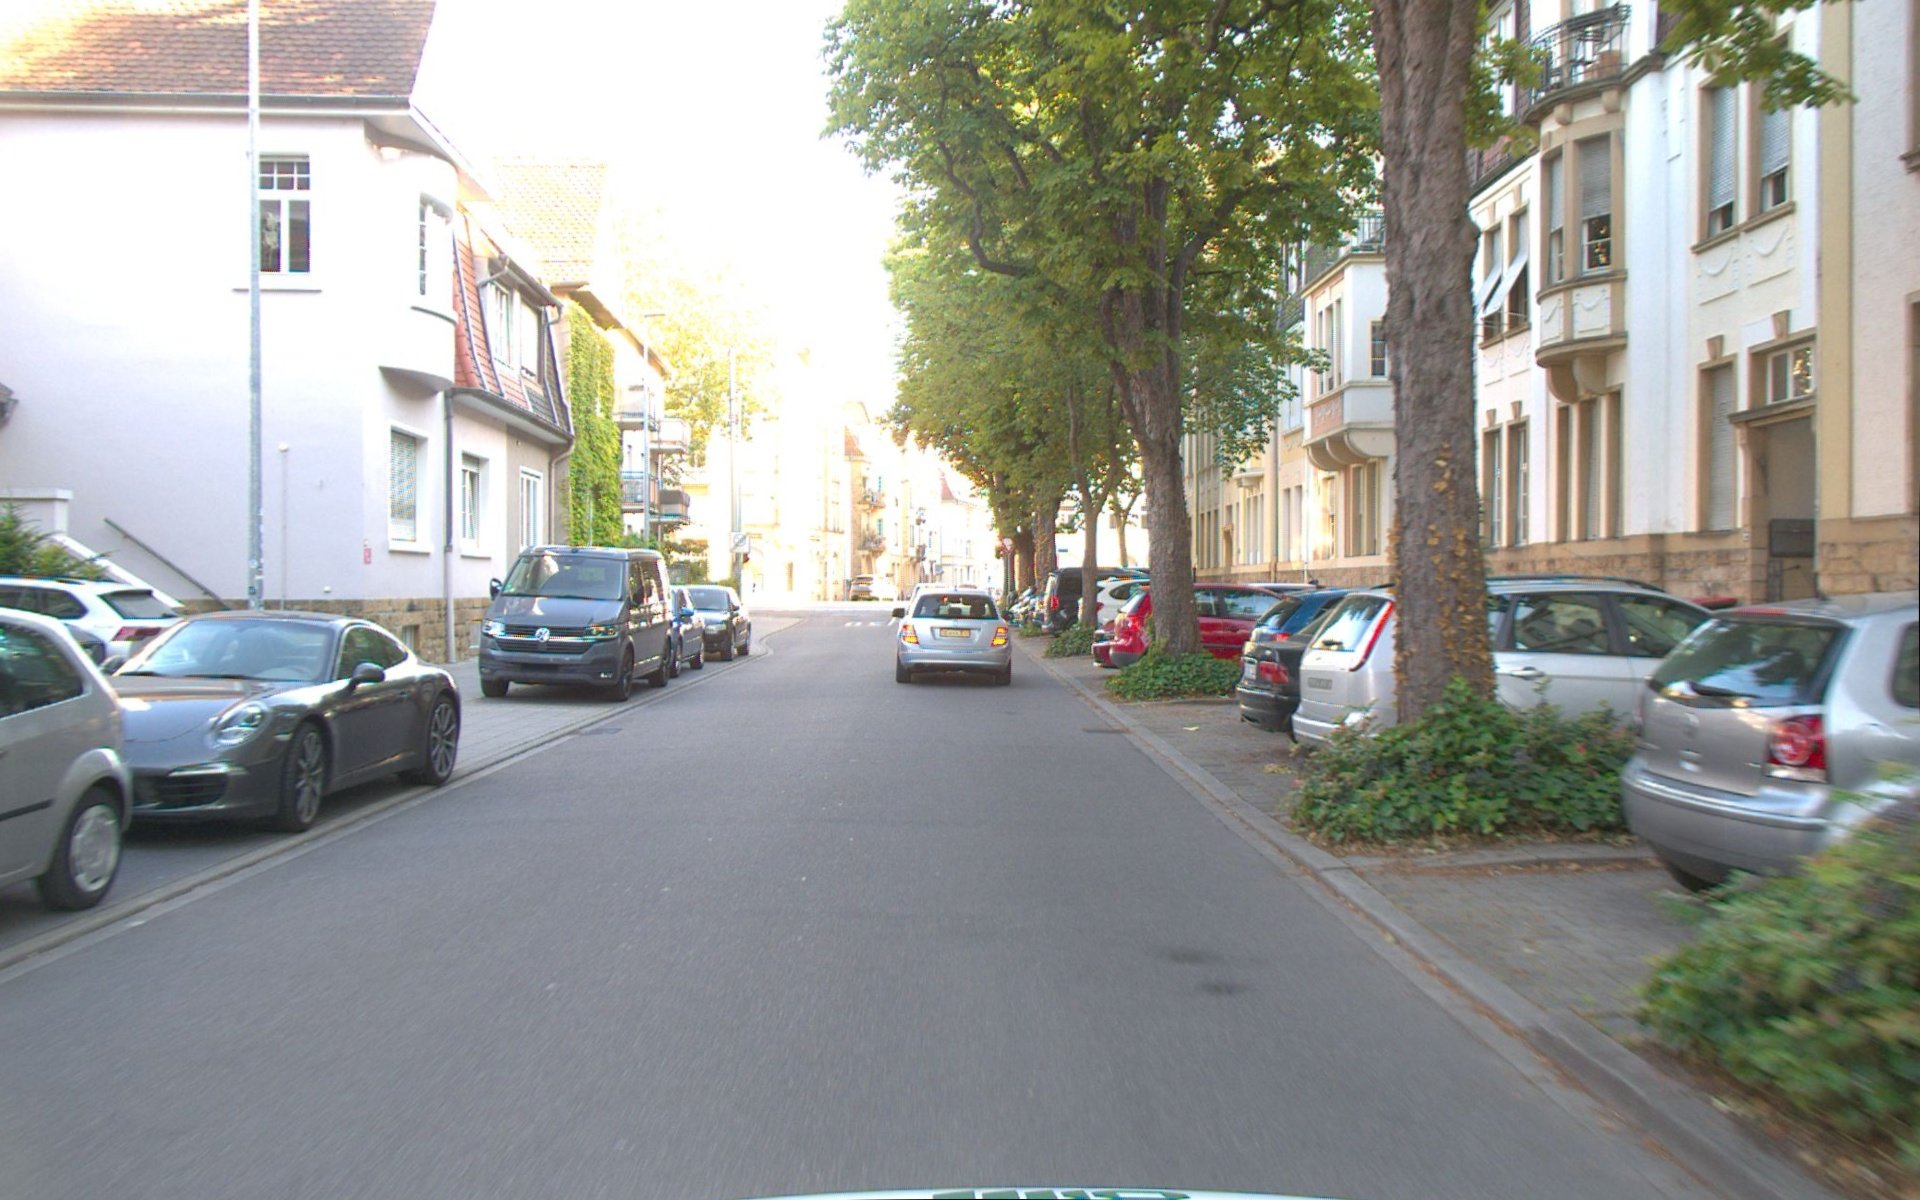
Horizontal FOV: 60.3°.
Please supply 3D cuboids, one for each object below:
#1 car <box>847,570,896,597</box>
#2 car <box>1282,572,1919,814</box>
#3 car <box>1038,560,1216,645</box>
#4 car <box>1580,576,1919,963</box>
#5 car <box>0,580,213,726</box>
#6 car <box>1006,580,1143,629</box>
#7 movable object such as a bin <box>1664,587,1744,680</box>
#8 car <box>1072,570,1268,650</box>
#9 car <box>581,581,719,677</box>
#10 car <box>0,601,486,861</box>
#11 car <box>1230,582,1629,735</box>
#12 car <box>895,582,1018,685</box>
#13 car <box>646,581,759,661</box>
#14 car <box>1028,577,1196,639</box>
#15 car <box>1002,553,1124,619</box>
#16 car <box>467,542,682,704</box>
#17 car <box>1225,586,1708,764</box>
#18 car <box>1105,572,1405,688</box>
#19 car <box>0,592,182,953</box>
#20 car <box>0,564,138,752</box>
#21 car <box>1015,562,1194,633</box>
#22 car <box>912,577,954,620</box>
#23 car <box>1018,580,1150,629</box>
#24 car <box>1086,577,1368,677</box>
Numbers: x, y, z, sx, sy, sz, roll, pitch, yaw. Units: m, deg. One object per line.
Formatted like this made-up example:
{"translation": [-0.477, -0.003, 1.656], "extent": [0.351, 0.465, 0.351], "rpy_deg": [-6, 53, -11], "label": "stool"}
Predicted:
{"translation": [-5.489, -1.046, 102.861], "extent": [1.951, 1.612, 4.003], "rpy_deg": [0, 1, 15], "label": "car"}
{"translation": [4.564, 0.602, 12.022], "extent": [4.067, 1.604, 1.710], "rpy_deg": [0, 1, -6], "label": "car"}
{"translation": [4.095, 0.046, 41.021], "extent": [4.135, 1.929, 1.904], "rpy_deg": [-1, 1, -3], "label": "car"}
{"translation": [4.989, 0.620, 7.457], "extent": [3.719, 1.463, 1.747], "rpy_deg": [-1, 1, -5], "label": "car"}
{"translation": [-10.312, 0.536, 17.817], "extent": [3.787, 1.468, 1.634], "rpy_deg": [0, 1, -5], "label": "car"}
{"translation": [3.654, 0.125, 53.203], "extent": [4.203, 1.442, 1.876], "rpy_deg": [-1, 1, -3], "label": "car"}
{"translation": [9.081, 0.401, 20.198], "extent": [0.686, 1.067, 0.541], "rpy_deg": [-3, 1, -2], "label": "movable object such as a bin"}
{"translation": [4.558, 0.193, 36.286], "extent": [4.027, 1.598, 1.877], "rpy_deg": [-2, 1, -1], "label": "car"}
{"translation": [-5.297, 0.447, 28.732], "extent": [1.620, 1.472, 4.237], "rpy_deg": [2, 1, -1], "label": "car"}
{"translation": [-4.699, 0.739, 11.459], "extent": [1.499, 1.341, 4.228], "rpy_deg": [1, 1, 2], "label": "car"}
{"translation": [4.768, 0.566, 17.152], "extent": [3.715, 1.509, 1.561], "rpy_deg": [0, 1, 1], "label": "car"}
{"translation": [-0.055, 0.479, 25.829], "extent": [1.747, 1.462, 3.850], "rpy_deg": [1, 0, 0], "label": "car"}
{"translation": [-5.204, 0.375, 33.895], "extent": [1.660, 1.472, 4.357], "rpy_deg": [1, 1, -1], "label": "car"}
{"translation": [3.984, 0.199, 43.734], "extent": [4.202, 1.567, 1.876], "rpy_deg": [0, 1, -3], "label": "car"}
{"translation": [3.766, -0.534, 61.113], "extent": [4.301, 2.405, 1.999], "rpy_deg": [0, 1, -3], "label": "car"}
{"translation": [-5.191, 0.241, 22.962], "extent": [1.942, 1.981, 4.850], "rpy_deg": [1, 1, -2], "label": "car"}
{"translation": [4.351, 0.615, 14.622], "extent": [3.716, 1.463, 1.817], "rpy_deg": [0, 1, -1], "label": "car"}
{"translation": [4.267, 0.413, 24.430], "extent": [4.103, 1.501, 1.852], "rpy_deg": [-2, 1, 1], "label": "car"}
{"translation": [-4.817, 0.735, 6.515], "extent": [1.620, 1.470, 3.960], "rpy_deg": [1, 1, 0], "label": "car"}
{"translation": [-10.027, 0.489, 15.400], "extent": [3.787, 1.649, 1.896], "rpy_deg": [0, 1, -5], "label": "car"}
{"translation": [4.170, -0.084, 48.282], "extent": [4.953, 2.023, 2.071], "rpy_deg": [0, 1, -3], "label": "car"}
{"translation": [-1.029, -0.073, 64.494], "extent": [1.590, 1.597, 3.680], "rpy_deg": [0, 1, 0], "label": "car"}
{"translation": [4.136, 0.142, 55.626], "extent": [4.202, 1.567, 1.898], "rpy_deg": [0, 1, -3], "label": "car"}
{"translation": [4.302, 0.415, 27.144], "extent": [4.320, 1.444, 1.877], "rpy_deg": [-2, 1, 1], "label": "car"}
